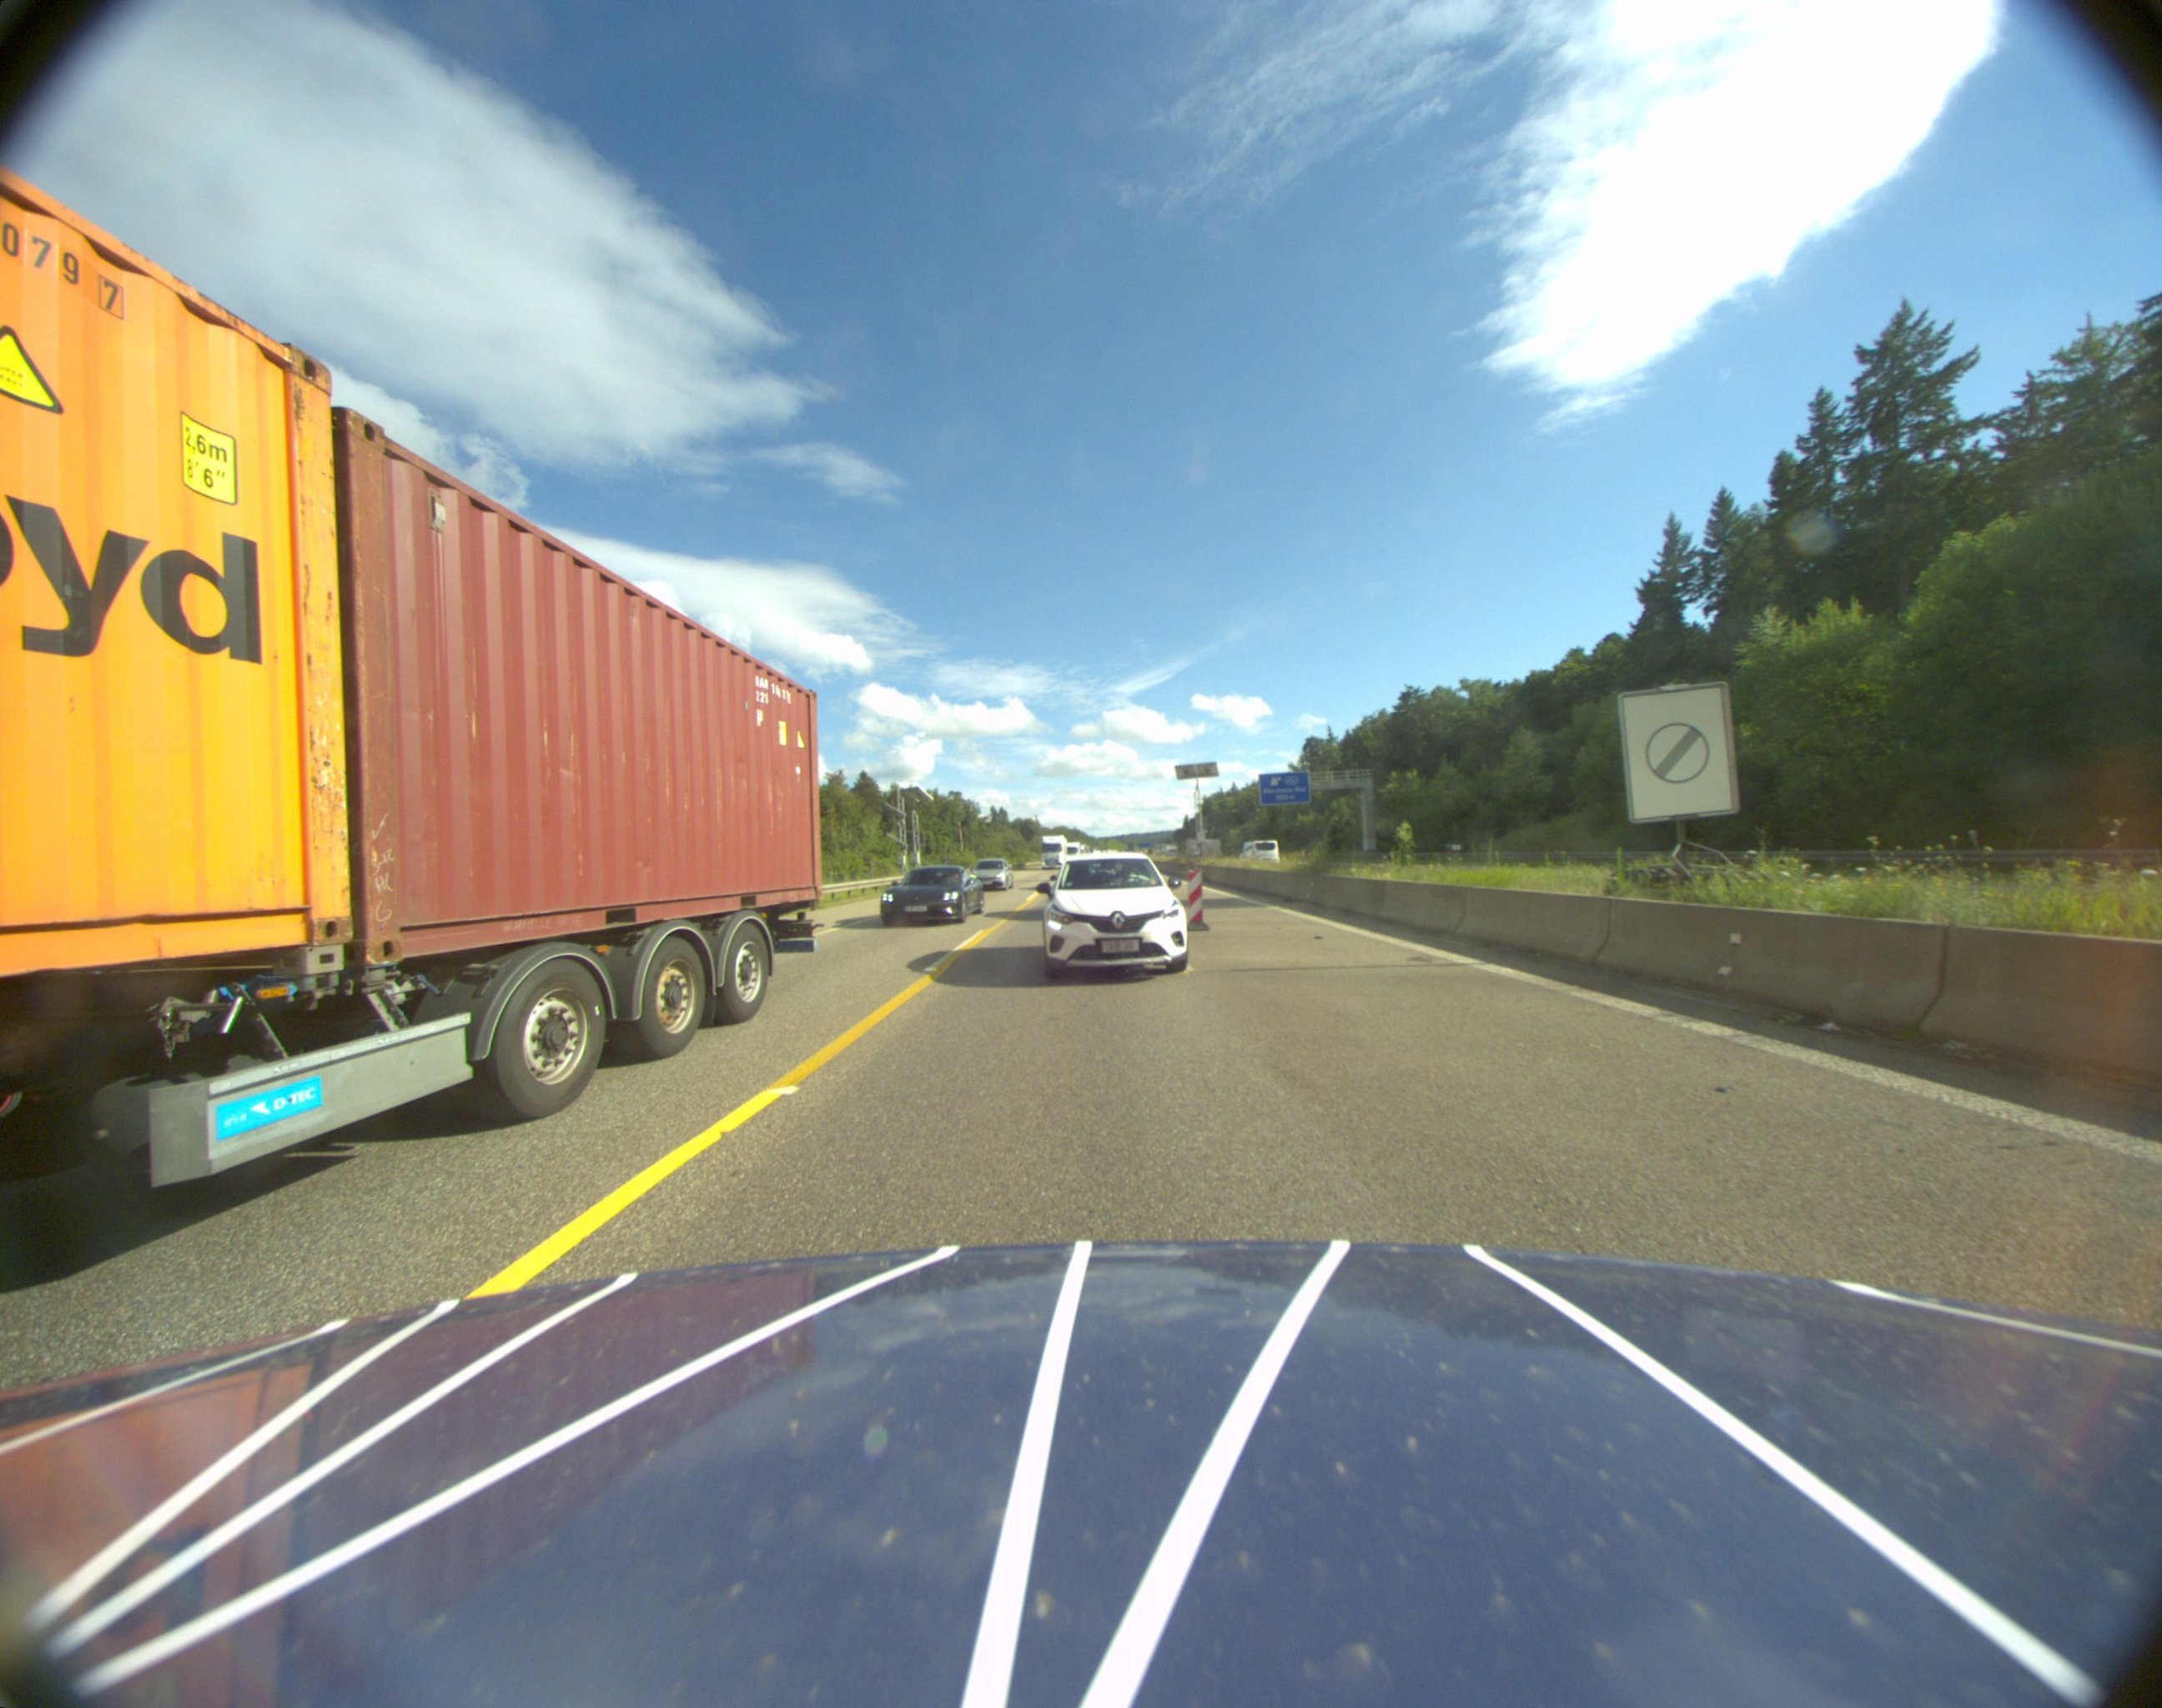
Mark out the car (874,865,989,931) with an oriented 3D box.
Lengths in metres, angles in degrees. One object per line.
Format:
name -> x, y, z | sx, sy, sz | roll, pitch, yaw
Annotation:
car -> -3.680, 1.033, 19.543 | 1.933, 1.342, 4.477 | -2, 0, 1

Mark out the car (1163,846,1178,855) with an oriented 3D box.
car -> 13.391, -0.539, 113.950 | 1.783, 1.379, 4.310 | -2, 1, 1

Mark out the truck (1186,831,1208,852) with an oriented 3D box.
truck -> 22.953, -2.441, 150.804 | 2.807, 3.969, 10.185 | -2, 0, 1

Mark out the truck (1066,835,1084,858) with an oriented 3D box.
truck -> -1.018, -1.322, 142.250 | 2.640, 4.092, 8.196 | -2, 0, 3

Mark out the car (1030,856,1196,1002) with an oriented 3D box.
car -> 0.341, 0.854, 10.588 | 1.840, 1.528, 3.882 | -2, 1, -1

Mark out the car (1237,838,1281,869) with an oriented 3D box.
car -> 12.575, -0.088, 53.896 | 1.998, 2.002, 4.831 | -2, 1, 1

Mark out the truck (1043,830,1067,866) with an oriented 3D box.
truck -> -3.153, -0.692, 93.250 | 2.641, 4.092, 8.194 | -2, 0, -1

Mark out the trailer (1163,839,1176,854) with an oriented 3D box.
trailer -> 24.863, -2.082, 213.669 | 2.797, 3.901, 8.487 | -2, 1, 1

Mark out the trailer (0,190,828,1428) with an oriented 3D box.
trailer -> -4.497, -0.133, 3.314 | 2.478, 3.753, 12.135 | -2, 0, 0

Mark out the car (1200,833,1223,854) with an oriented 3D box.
car -> 21.625, -1.743, 126.549 | 2.493, 3.351, 7.451 | -2, 1, 0

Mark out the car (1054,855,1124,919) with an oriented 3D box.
car -> 0.233, 0.828, 20.636 | 1.692, 1.471, 3.754 | -2, 1, 1

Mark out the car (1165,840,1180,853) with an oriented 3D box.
car -> 18.199, -1.504, 150.940 | 2.165, 2.437, 6.330 | -3, 1, 1

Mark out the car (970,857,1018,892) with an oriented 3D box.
car -> -4.194, 0.947, 36.988 | 1.762, 1.471, 3.967 | -2, 1, 1

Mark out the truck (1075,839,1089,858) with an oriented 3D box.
truck -> 0.287, -1.241, 175.219 | 2.640, 4.092, 8.196 | -2, 0, 3

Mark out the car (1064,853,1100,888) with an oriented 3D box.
car -> 0.074, 0.754, 37.101 | 1.633, 1.548, 3.754 | -2, 0, 1
